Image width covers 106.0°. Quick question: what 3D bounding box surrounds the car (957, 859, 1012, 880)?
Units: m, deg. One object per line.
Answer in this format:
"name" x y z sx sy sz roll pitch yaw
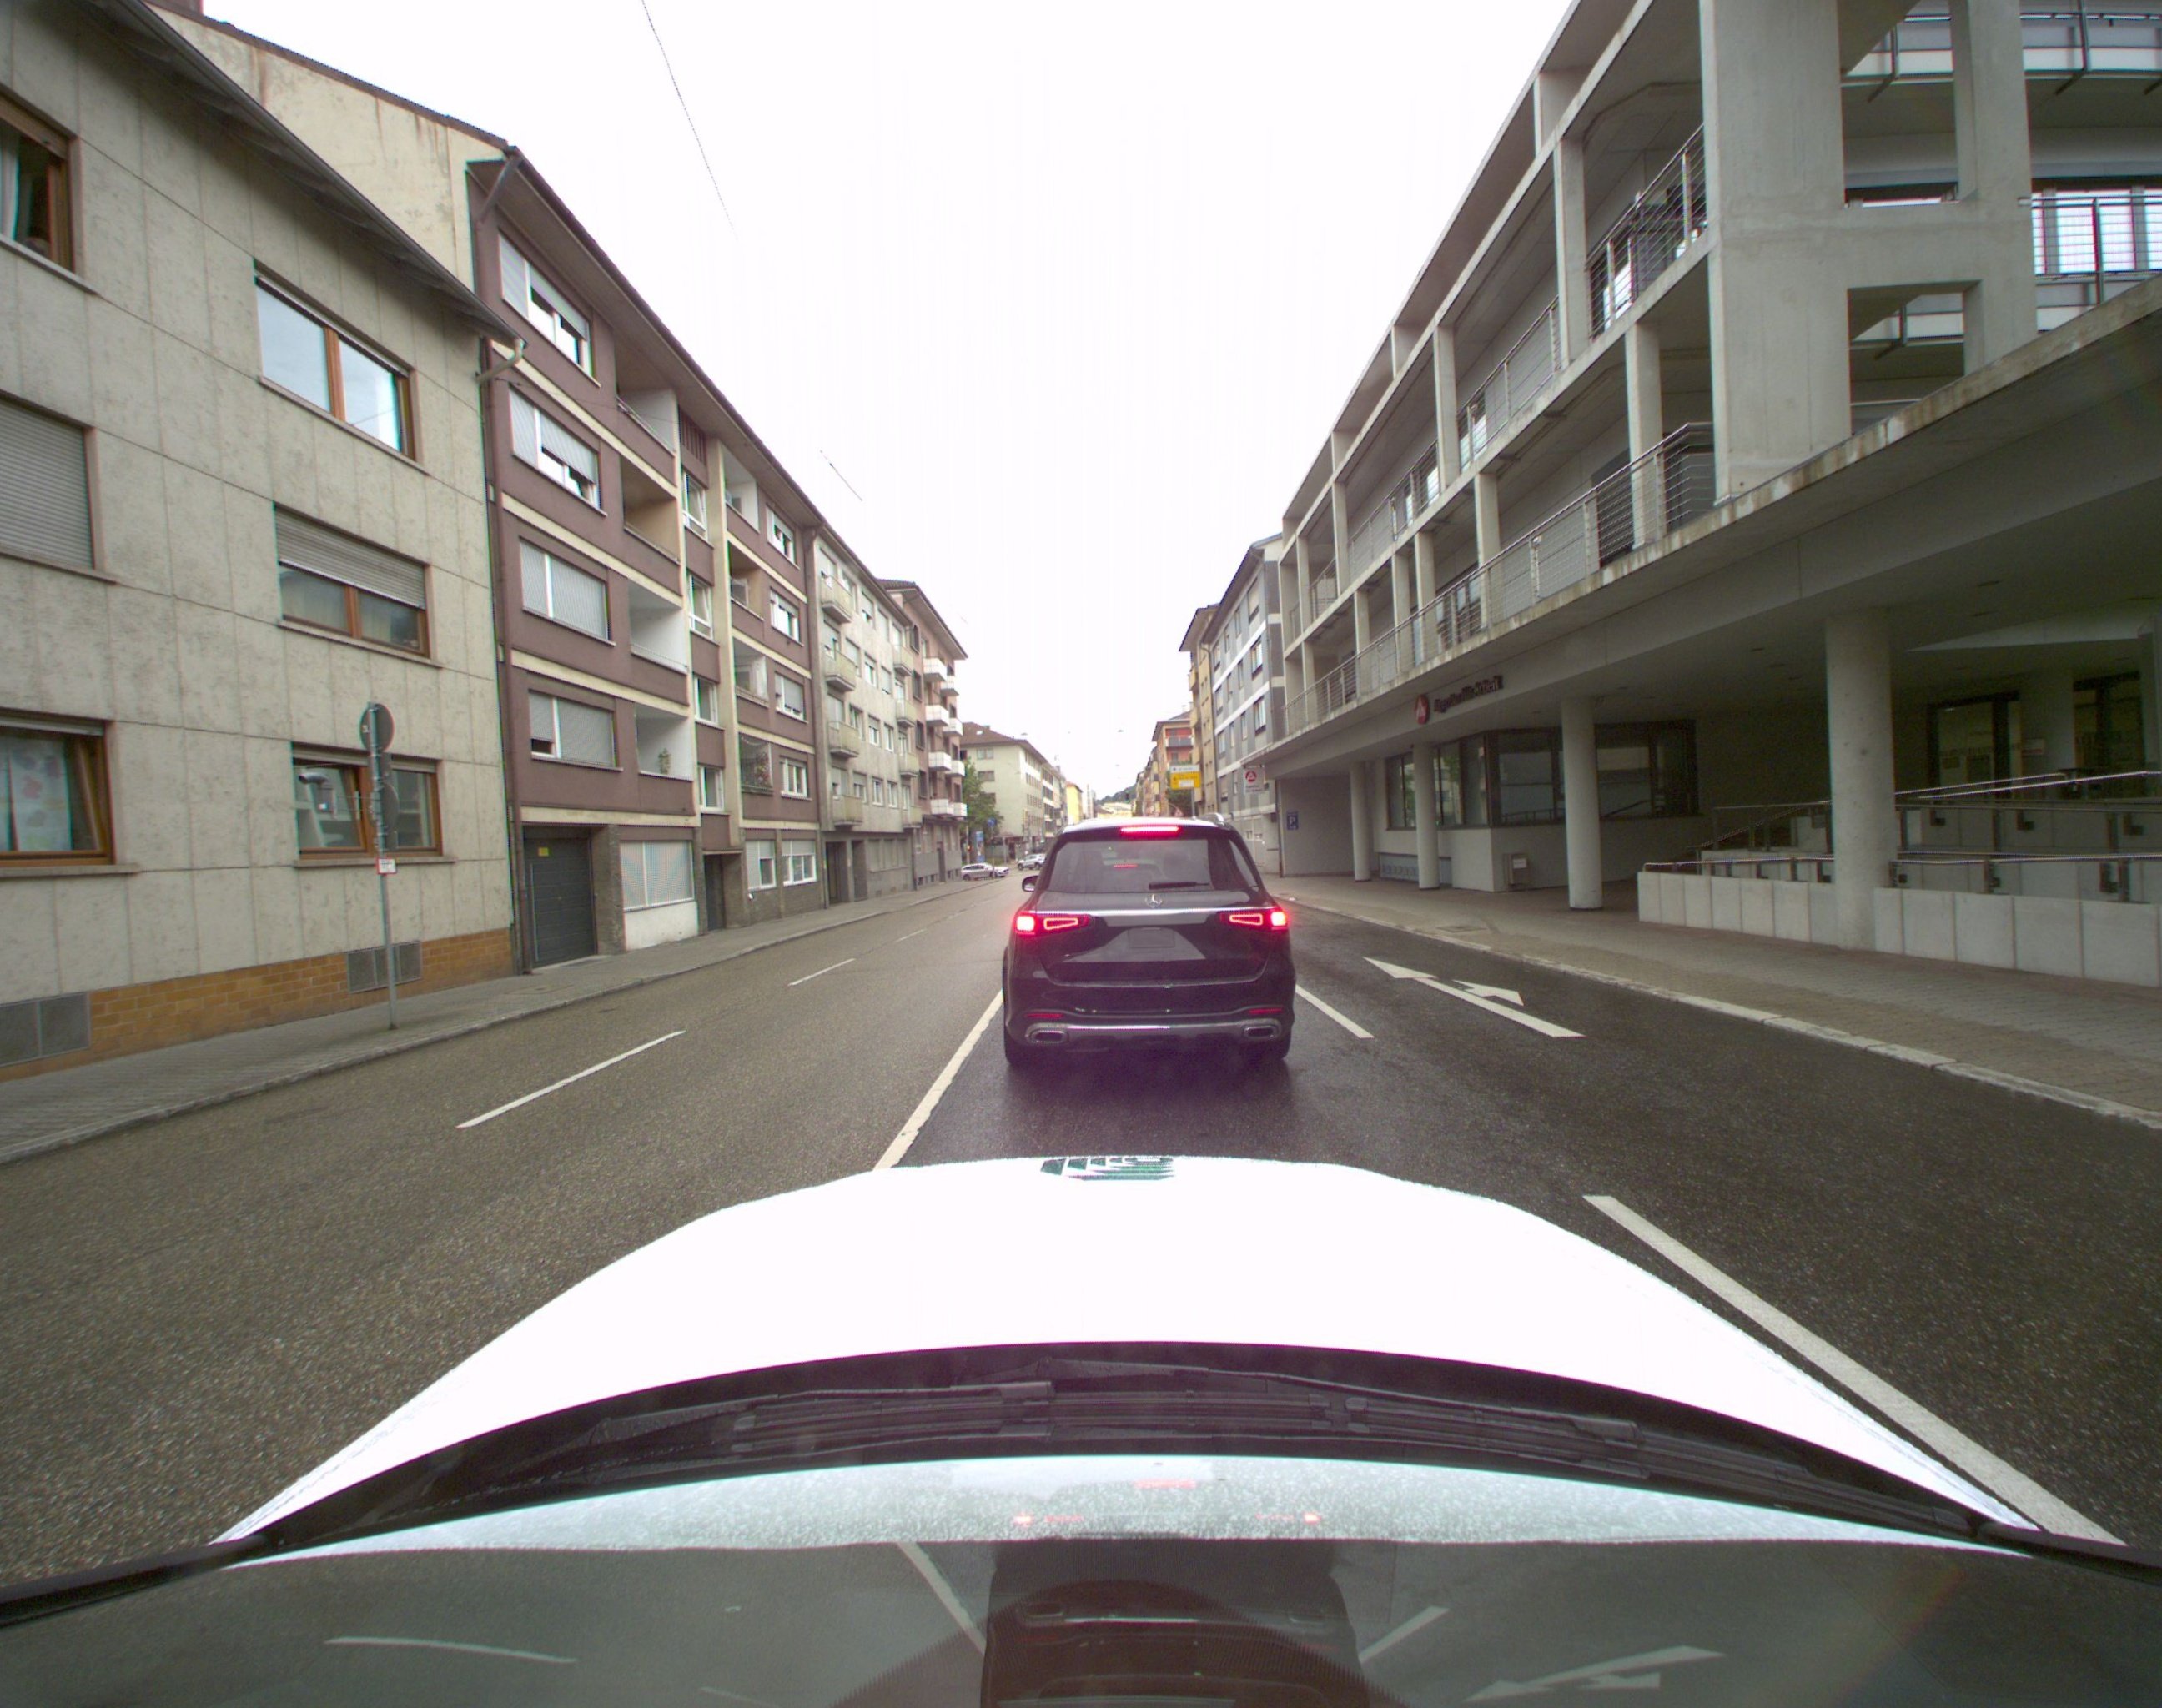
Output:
"car" -8.564 1.360 72.244 4.310 1.539 1.786 -5 -1 17

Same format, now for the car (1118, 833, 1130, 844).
"car" 7.595 -2.719 143.606 1.718 1.759 4.217 -4 0 0

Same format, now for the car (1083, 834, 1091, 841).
"car" 1.451 -3.945 193.995 1.613 1.539 4.216 -4 -1 0

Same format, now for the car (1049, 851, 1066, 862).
"car" -2.912 0.309 101.004 1.879 1.264 4.216 -4 -1 0

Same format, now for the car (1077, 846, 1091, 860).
"car" 0.381 -0.137 101.455 1.613 1.539 4.216 -4 -1 0

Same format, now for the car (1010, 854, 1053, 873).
"car" -4.929 0.989 80.204 4.163 1.539 1.634 -5 -1 40

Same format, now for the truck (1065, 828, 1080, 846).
"truck" -1.601 -3.172 157.396 2.472 3.046 9.917 -4 -1 0

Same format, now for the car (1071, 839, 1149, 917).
"car" 0.667 0.580 20.983 1.746 1.731 4.216 -2 -1 0

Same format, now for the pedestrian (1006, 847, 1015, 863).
"pedestrian" -8.904 0.141 102.364 0.920 1.902 0.706 -3 0 0

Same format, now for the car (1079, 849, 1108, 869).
"car" 1.072 0.431 70.766 1.813 1.539 4.207 -4 -1 -7

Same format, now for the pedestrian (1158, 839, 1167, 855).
"pedestrian" 9.837 -0.852 97.934 0.920 1.804 0.706 -3 0 0

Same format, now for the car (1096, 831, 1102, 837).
"car" 5.557 -6.228 250.445 1.613 1.539 4.216 -4 -1 0

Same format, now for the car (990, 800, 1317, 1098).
"car" 0.510 0.595 7.162 1.977 1.805 4.391 0 -1 2

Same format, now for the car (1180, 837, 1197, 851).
"car" 12.471 -1.157 94.490 1.664 1.588 3.334 -3 0 4

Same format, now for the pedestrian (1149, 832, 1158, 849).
"pedestrian" 9.219 -1.704 103.776 0.920 2.013 0.706 -3 0 0

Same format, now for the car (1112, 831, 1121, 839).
"car" 7.824 -4.146 179.785 1.613 1.387 4.216 -4 -1 0

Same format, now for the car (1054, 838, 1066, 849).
"car" -3.390 -1.709 131.972 1.613 1.539 4.216 -4 -1 0

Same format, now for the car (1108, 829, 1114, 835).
"car" 8.997 -6.491 245.283 1.613 1.539 4.216 -4 -1 0
